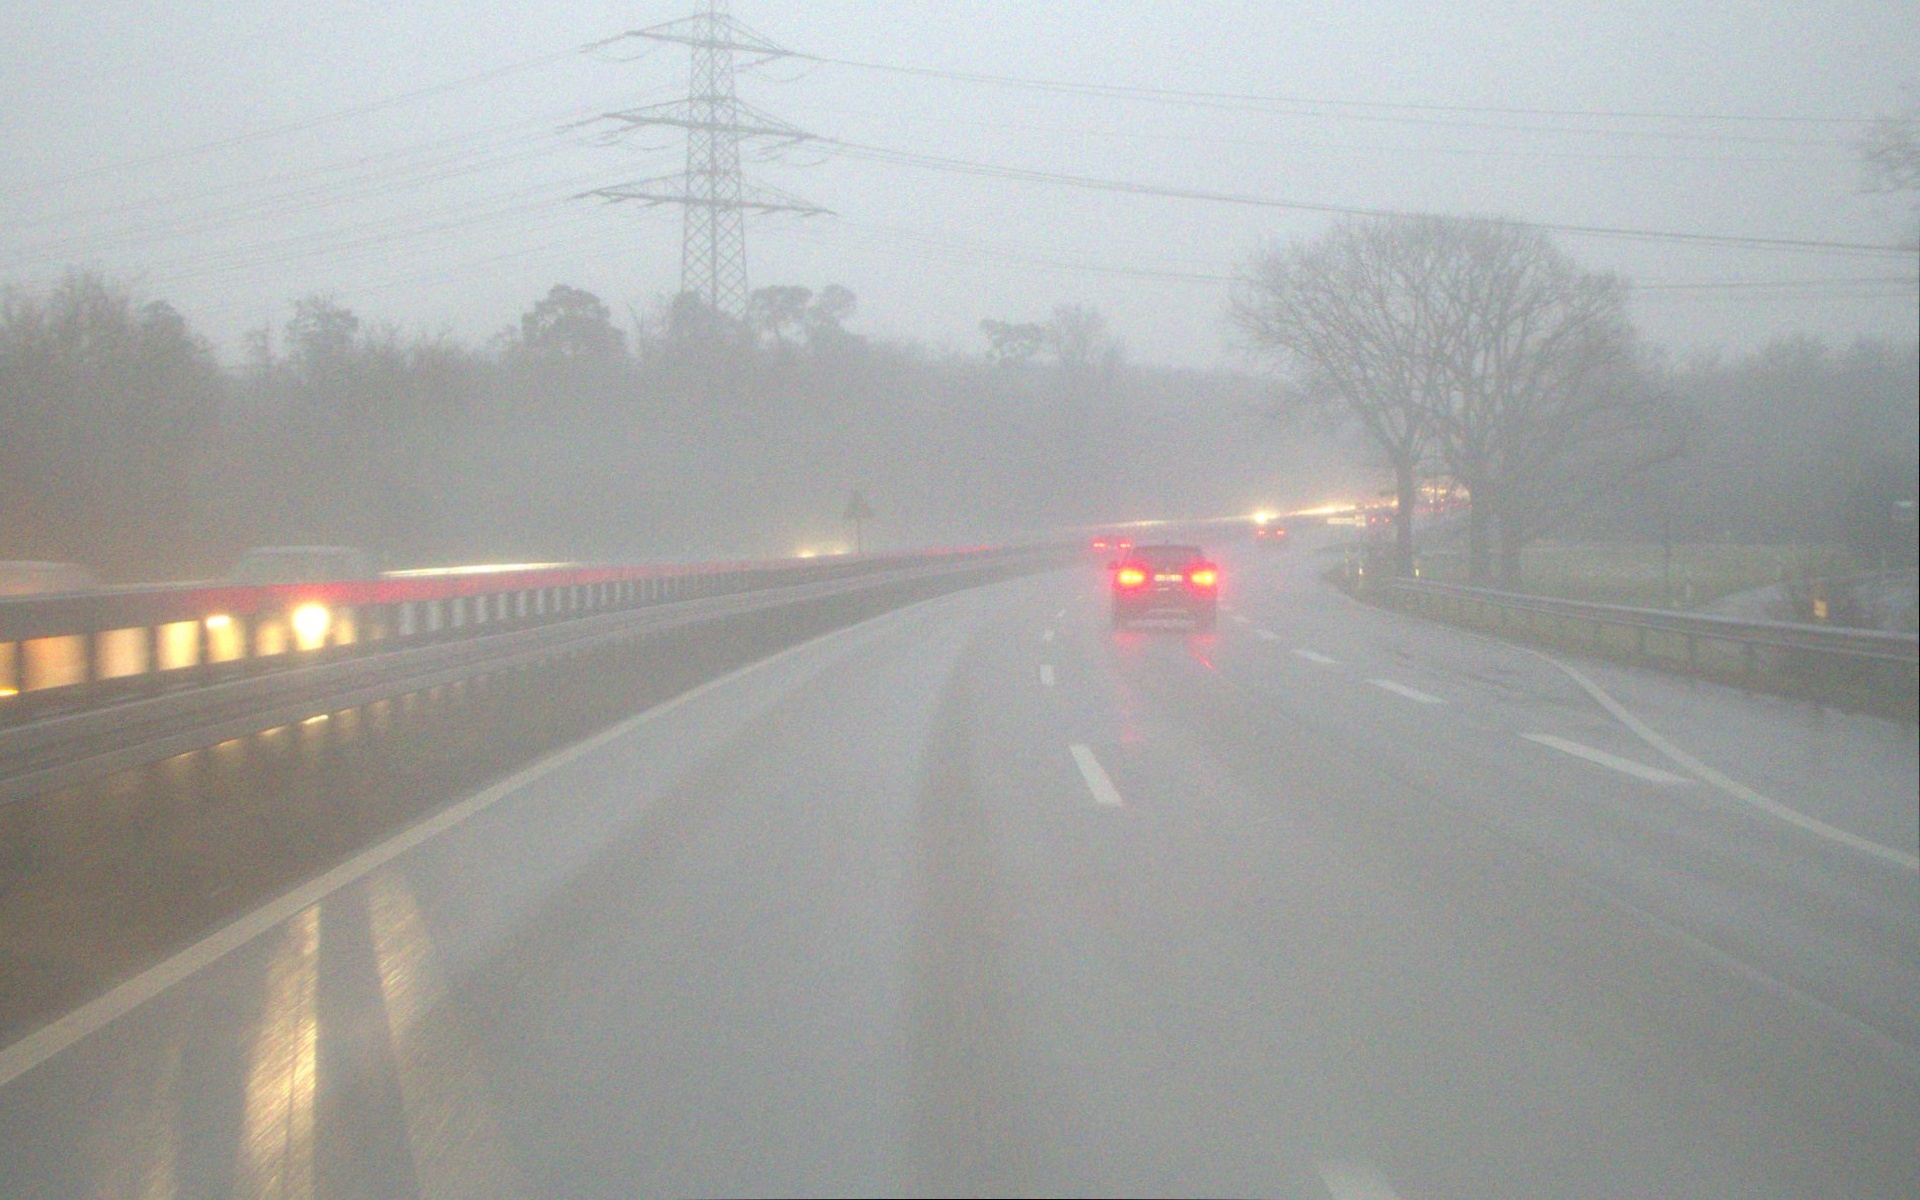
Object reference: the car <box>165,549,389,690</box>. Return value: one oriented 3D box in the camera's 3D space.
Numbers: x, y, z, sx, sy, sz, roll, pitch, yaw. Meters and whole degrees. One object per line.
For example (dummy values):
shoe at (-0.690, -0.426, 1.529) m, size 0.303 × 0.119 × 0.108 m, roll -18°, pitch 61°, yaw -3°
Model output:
car at (-8.484, 0.195, 43.058) m, size 1.877 × 1.418 × 4.426 m, roll -8°, pitch 1°, yaw -2°

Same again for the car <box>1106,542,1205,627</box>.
car at (3.712, -0.315, 64.888) m, size 1.678 × 1.503 × 3.808 m, roll 0°, pitch 2°, yaw 6°
